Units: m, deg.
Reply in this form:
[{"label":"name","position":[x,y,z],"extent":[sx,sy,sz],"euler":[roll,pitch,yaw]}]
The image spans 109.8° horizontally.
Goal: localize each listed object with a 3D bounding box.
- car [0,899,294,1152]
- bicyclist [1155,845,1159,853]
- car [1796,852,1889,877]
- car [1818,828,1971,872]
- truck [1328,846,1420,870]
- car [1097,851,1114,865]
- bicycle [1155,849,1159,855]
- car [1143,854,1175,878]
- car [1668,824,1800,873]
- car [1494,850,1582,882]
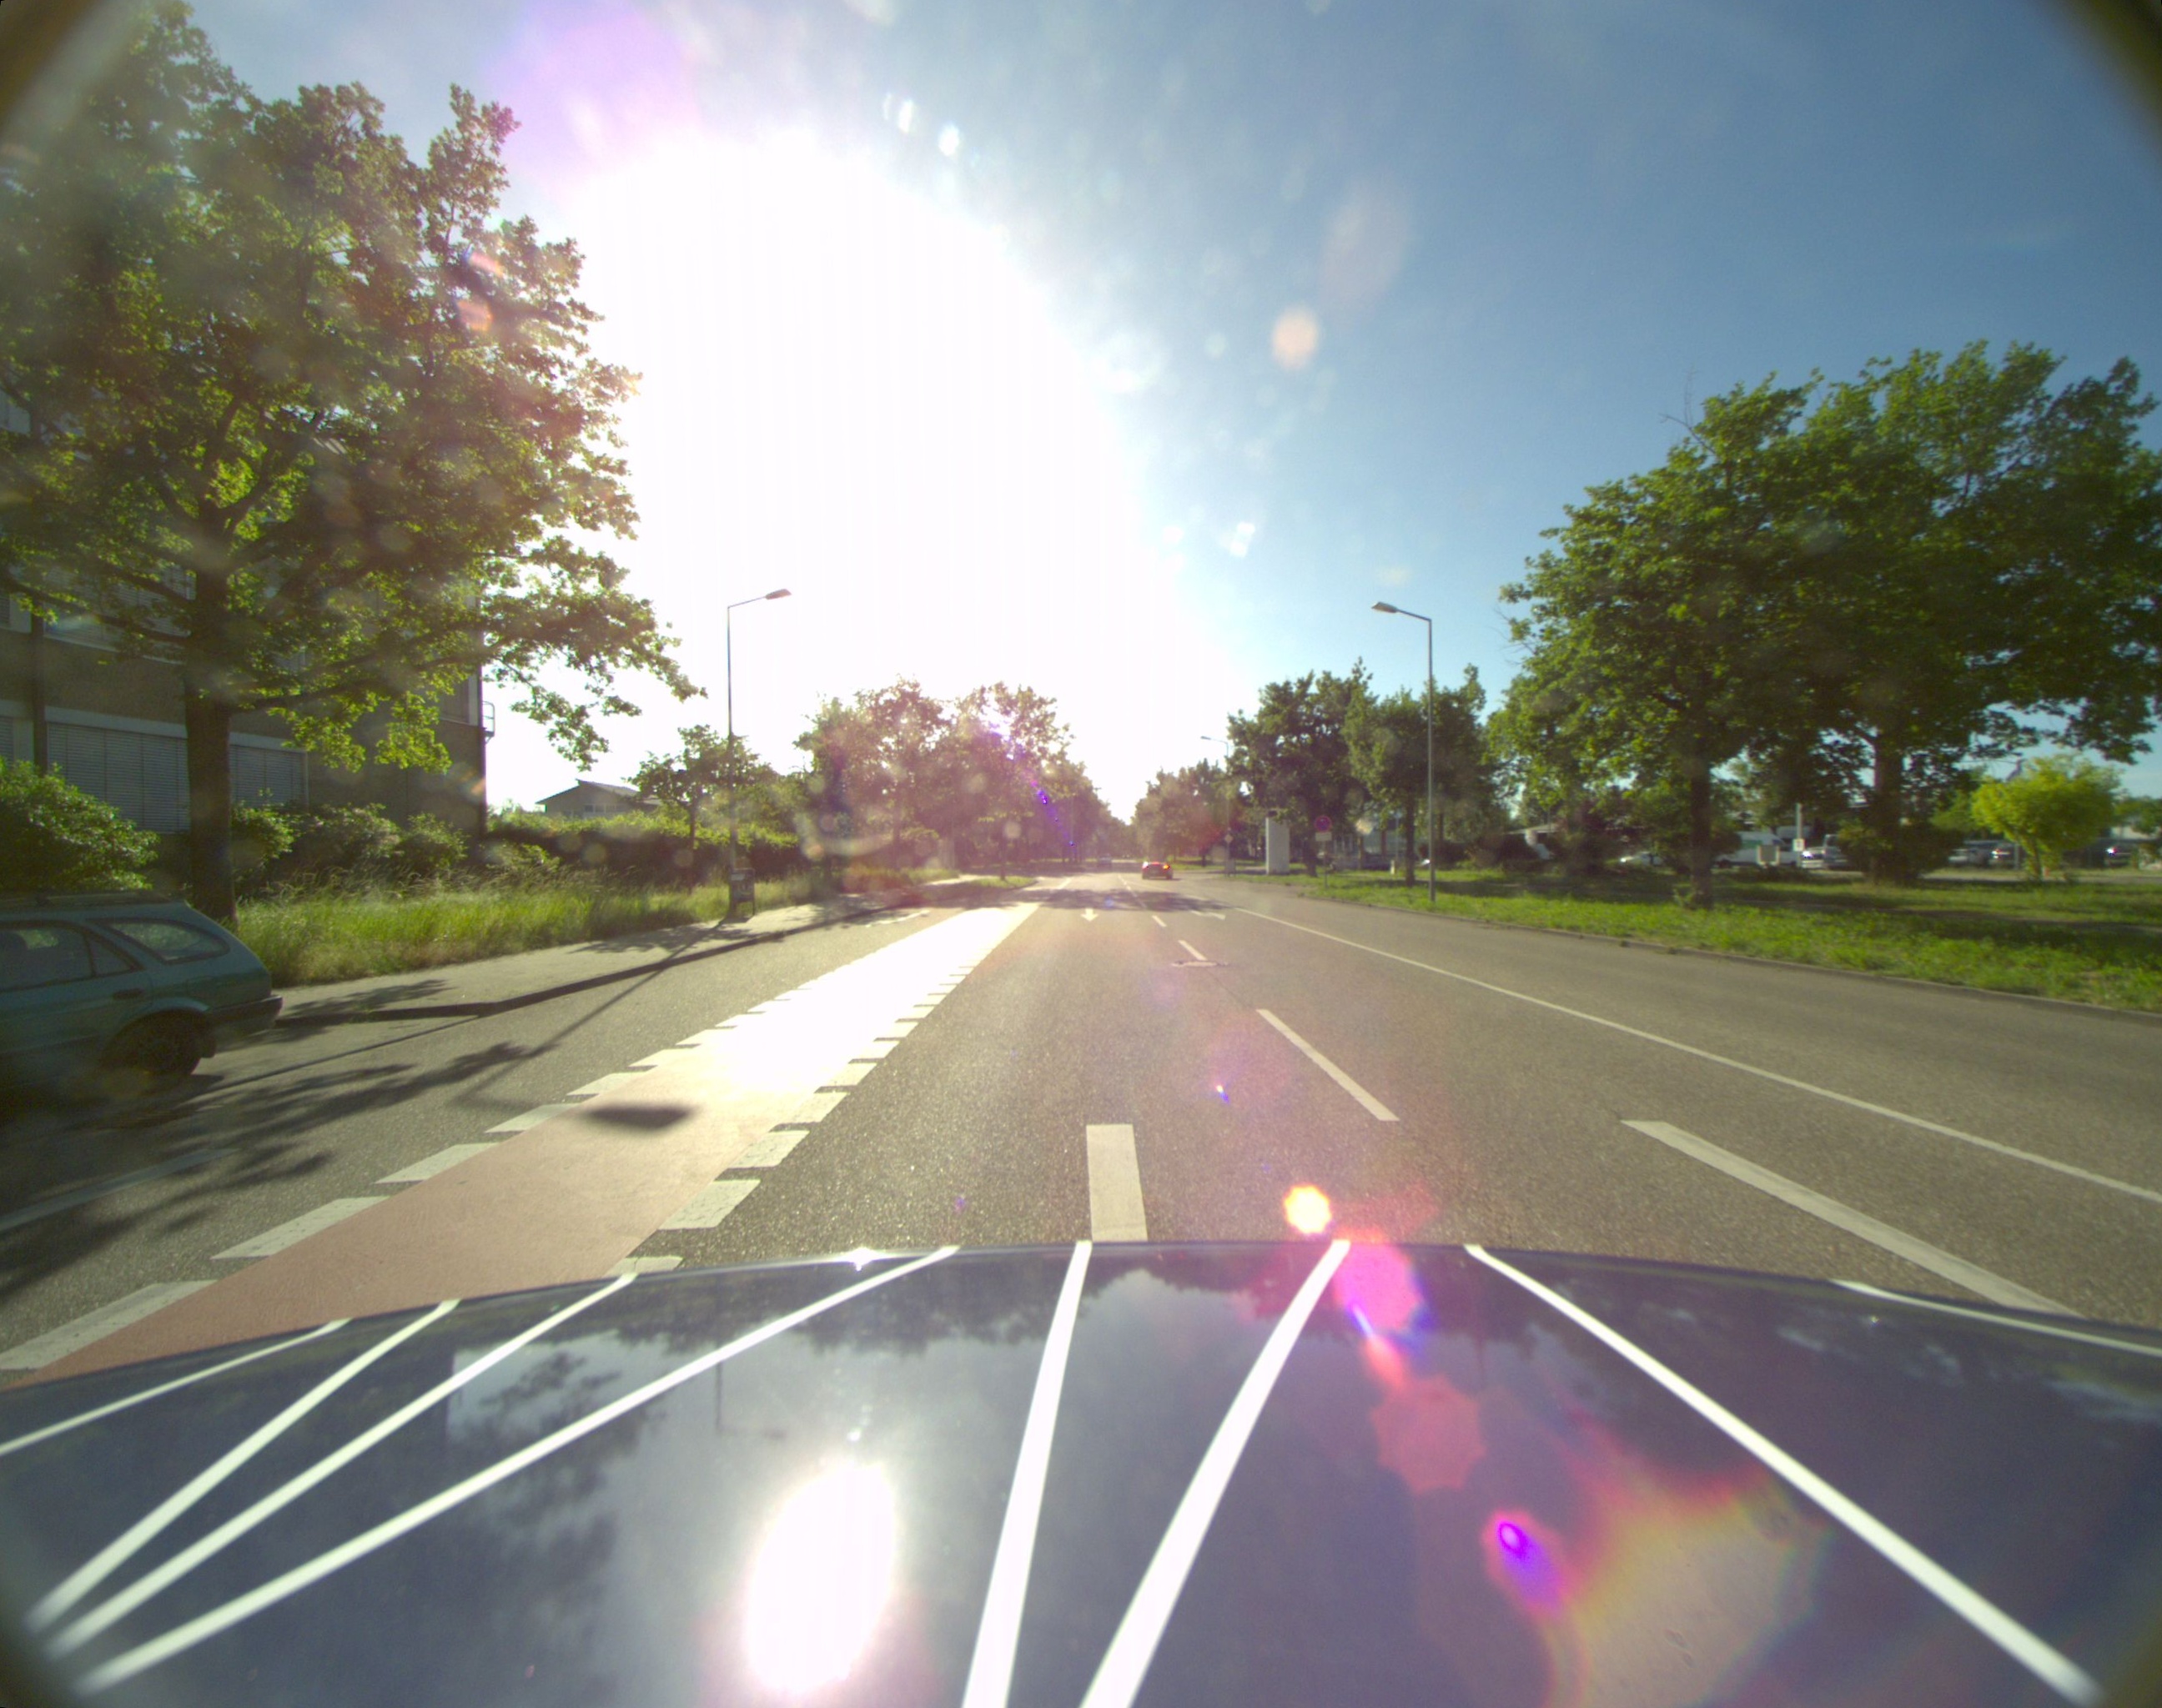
[{"label":"car","position":[-7.448,1.121,4.268],"extent":[1.596,1.420,4.203],"euler":[1,1,2]},{"label":"bicyclist","position":[15.088,-0.972,150.372],"extent":[0.665,1.620,0.659],"euler":[-2,2,3]},{"label":"car","position":[41.192,0.562,41.140],"extent":[3.532,1.294,1.574],"euler":[-1,1,-2]},{"label":"car","position":[40.696,-0.212,38.103],"extent":[5.424,2.058,2.300],"euler":[-1,1,-3]},{"label":"truck","position":[25.143,0.338,65.424],"extent":[7.130,2.038,2.140],"euler":[0,1,-2]},{"label":"car","position":[2.923,0.439,91.251],"extent":[1.827,1.477,3.999],"euler":[-2,1,1]},{"label":"bicycle","position":[15.071,-0.379,150.405],"extent":[0.552,1.155,2.334],"euler":[-2,1,3]},{"label":"car","position":[5.183,0.774,50.216],"extent":[1.997,1.395,4.590],"euler":[2,0,7]},{"label":"car","position":[39.564,-0.362,46.126],"extent":[6.176,2.687,2.300],"euler":[-2,1,-3]},{"label":"car","position":[39.911,1.034,66.425],"extent":[6.356,2.501,2.300],"euler":[-2,1,-3]}]
